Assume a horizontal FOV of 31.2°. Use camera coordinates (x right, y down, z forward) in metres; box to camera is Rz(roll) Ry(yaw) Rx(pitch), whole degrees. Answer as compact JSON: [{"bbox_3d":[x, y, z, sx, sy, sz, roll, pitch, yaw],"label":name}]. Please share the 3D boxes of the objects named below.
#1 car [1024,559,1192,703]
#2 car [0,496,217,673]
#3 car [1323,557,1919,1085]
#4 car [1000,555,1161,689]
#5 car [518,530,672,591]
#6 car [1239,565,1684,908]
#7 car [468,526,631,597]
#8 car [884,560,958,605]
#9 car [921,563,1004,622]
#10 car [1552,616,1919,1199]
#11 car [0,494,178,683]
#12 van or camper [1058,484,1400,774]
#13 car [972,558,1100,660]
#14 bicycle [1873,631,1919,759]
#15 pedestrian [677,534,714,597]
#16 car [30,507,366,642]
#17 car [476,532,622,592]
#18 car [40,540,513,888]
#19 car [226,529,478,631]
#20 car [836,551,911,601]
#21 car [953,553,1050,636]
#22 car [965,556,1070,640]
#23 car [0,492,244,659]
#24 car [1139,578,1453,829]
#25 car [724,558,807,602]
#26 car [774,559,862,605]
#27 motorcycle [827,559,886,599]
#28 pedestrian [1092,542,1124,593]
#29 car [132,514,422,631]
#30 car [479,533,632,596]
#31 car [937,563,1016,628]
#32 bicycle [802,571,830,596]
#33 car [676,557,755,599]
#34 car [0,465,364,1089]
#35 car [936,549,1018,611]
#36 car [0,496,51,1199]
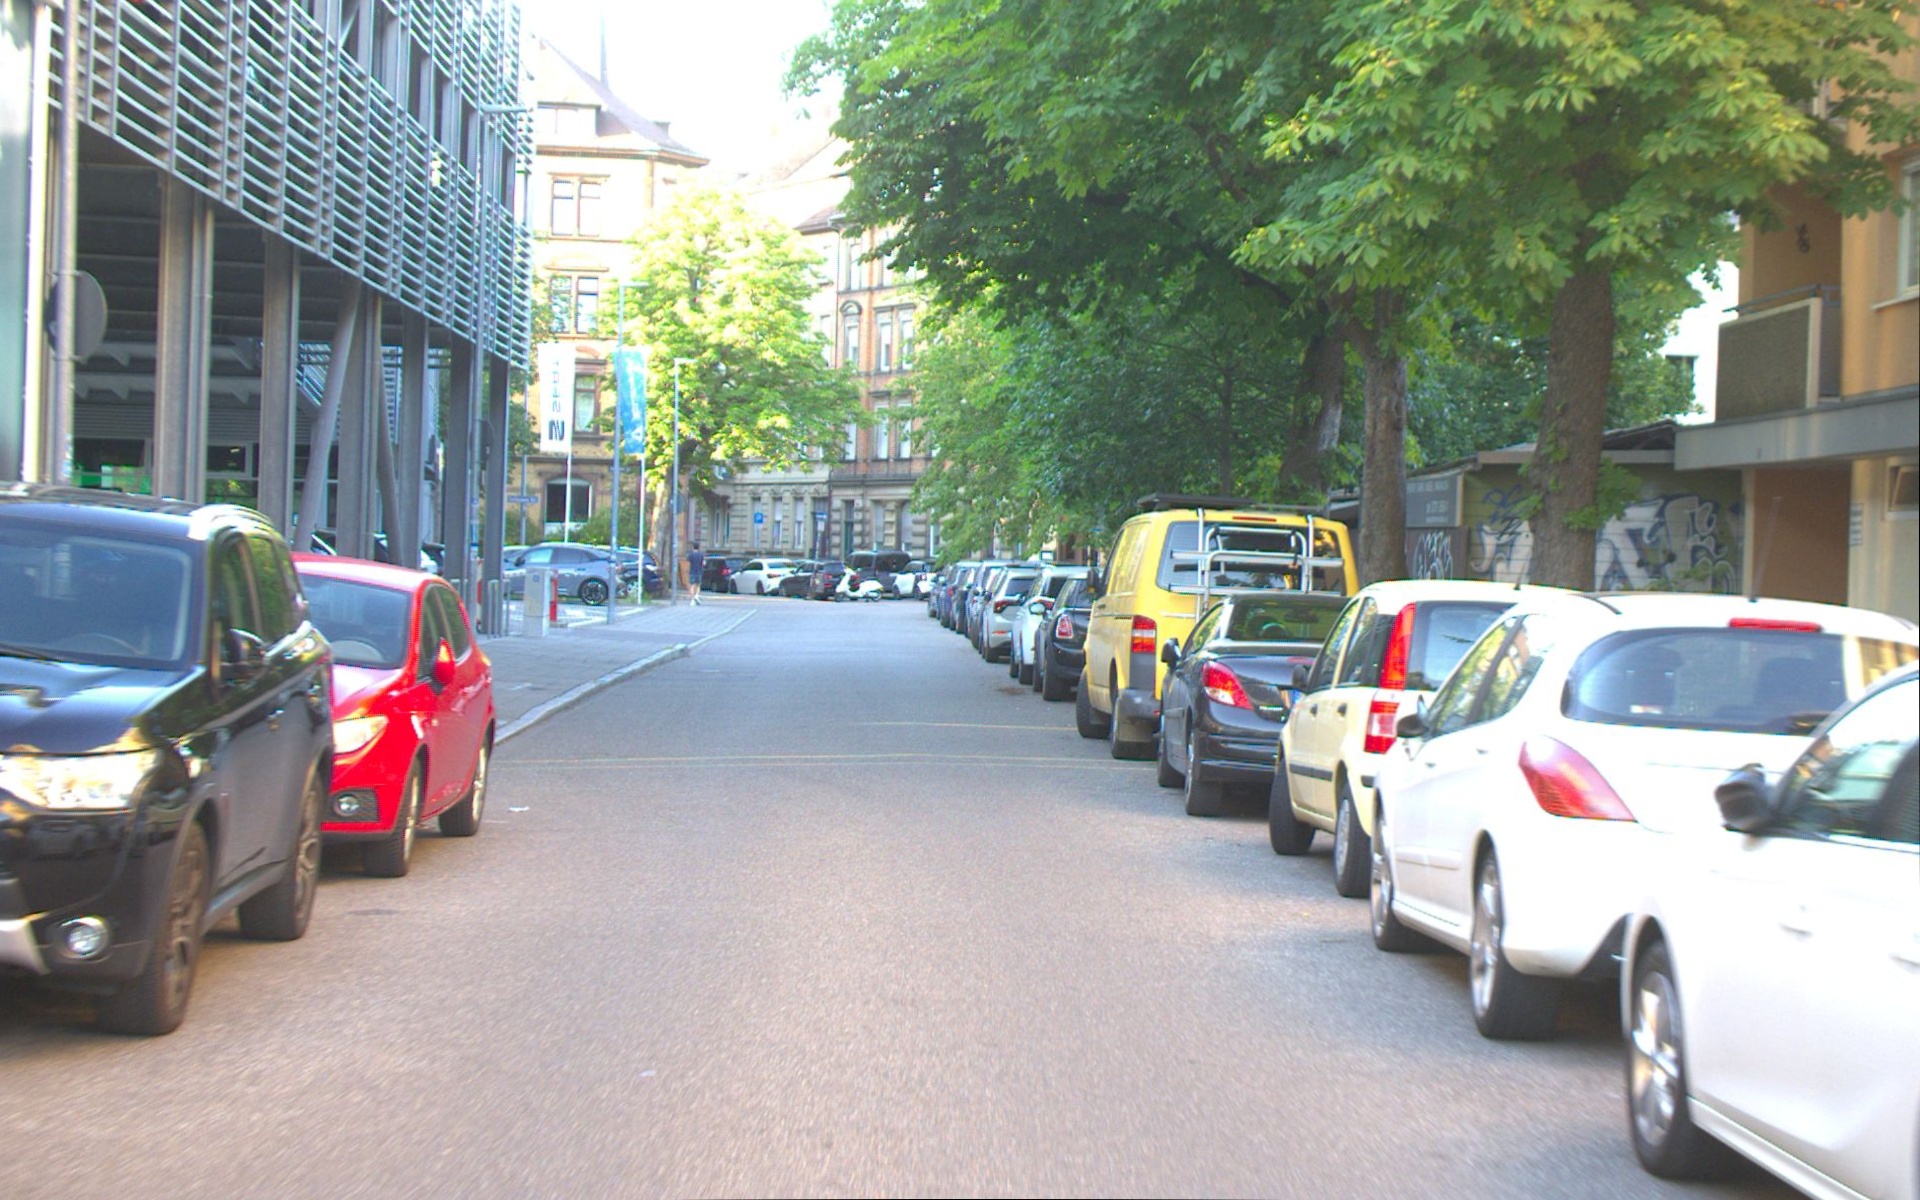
[{"bbox_3d":[1.607,0.307,38.356,1.563,1.445,3.454,1,2,-2],"label":"car"},{"bbox_3d":[-9.744,-0.204,34.510,4.149,1.678,1.860,1,1,0],"label":"car"},{"bbox_3d":[2.534,0.657,12.611,1.791,1.557,4.194,1,1,-2],"label":"car"},{"bbox_3d":[1.479,0.238,43.514,1.722,1.514,4.026,1,2,-2],"label":"car"},{"bbox_3d":[-11.761,-1.280,110.711,4.828,1.726,1.921,2,2,-8],"label":"car"},{"bbox_3d":[2.440,0.609,17.490,1.609,1.505,3.478,1,1,-2],"label":"car"},{"bbox_3d":[-10.937,-1.036,91.853,4.129,1.612,1.913,3,1,-3],"label":"car"},{"bbox_3d":[-1.455,-0.663,127.390,1.674,1.520,2.768,2,1,-26],"label":"car"},{"bbox_3d":[0.046,-0.227,90.737,1.694,1.472,4.213,1,1,-6],"label":"car"},{"bbox_3d":[2.550,0.830,7.619,1.609,1.456,4.054,1,1,-2],"label":"car"},{"bbox_3d":[-9.546,-0.164,32.104,4.035,1.678,1.860,1,1,0],"label":"car"},{"bbox_3d":[2.056,0.143,27.873,2.064,2.088,5.091,1,2,-3],"label":"van or camper"},{"bbox_3d":[1.157,0.110,53.812,1.759,1.437,4.006,1,2,-2],"label":"car"},{"bbox_3d":[7.423,0.729,25.857,0.523,0.918,1.835,1,2,-2],"label":"bicycle"},{"bbox_3d":[-7.798,-1.021,101.311,0.735,1.798,1.122,1,1,-22],"label":"pedestrian"},{"bbox_3d":[-10.223,-0.361,46.339,4.102,1.678,1.860,1,1,0],"label":"car"},{"bbox_3d":[-11.842,-1.109,99.227,4.044,1.470,1.921,3,1,-5],"label":"car"},{"bbox_3d":[-3.275,0.475,17.140,1.697,1.501,3.791,1,1,-2],"label":"car"},{"bbox_3d":[-10.268,-0.325,58.254,3.986,1.580,1.860,1,-1,-3],"label":"car"},{"bbox_3d":[-3.306,-0.926,130.807,1.674,1.776,3.015,2,1,-26],"label":"car"},{"bbox_3d":[0.813,-0.124,69.698,1.759,1.598,3.874,1,1,-2],"label":"car"},{"bbox_3d":[1.046,-0.061,64.792,1.759,1.436,3.874,1,2,-2],"label":"car"},{"bbox_3d":[-9.866,-0.296,36.705,4.025,1.678,1.860,1,1,0],"label":"car"},{"bbox_3d":[2.109,0.603,22.496,1.606,1.377,4.000,1,2,0],"label":"car"},{"bbox_3d":[-7.179,-0.756,126.782,1.654,1.426,4.168,2,2,-24],"label":"car"},{"bbox_3d":[-5.078,-0.645,122.195,1.654,1.426,3.991,2,2,-25],"label":"car"},{"bbox_3d":[-3.596,-0.718,118.967,1.931,1.336,0.577,1,1,-12],"label":"motorcycle"},{"bbox_3d":[5.237,-1.162,121.998,0.840,1.798,0.776,1,1,-22],"label":"pedestrian"},{"bbox_3d":[-10.528,-0.437,53.190,4.087,1.678,1.860,1,1,0],"label":"car"},{"bbox_3d":[-11.153,-0.999,95.062,4.066,1.612,1.765,1,2,-3],"label":"car"},{"bbox_3d":[0.364,-0.130,81.337,1.695,1.472,4.117,1,1,-2],"label":"car"},{"bbox_3d":[-4.890,-0.561,116.825,0.425,0.819,1.460,2,2,20],"label":"bicycle"},{"bbox_3d":[-9.328,-0.846,131.022,1.654,1.426,3.897,2,2,-26],"label":"car"},{"bbox_3d":[-3.228,0.442,11.852,1.697,1.750,4.404,1,1,-2],"label":"car"},{"bbox_3d":[0.394,-0.512,86.334,1.695,1.472,3.560,1,1,-5],"label":"car"},{"bbox_3d":[-2.911,0.610,5.196,1.937,1.591,4.205,1,2,0],"label":"car"}]
